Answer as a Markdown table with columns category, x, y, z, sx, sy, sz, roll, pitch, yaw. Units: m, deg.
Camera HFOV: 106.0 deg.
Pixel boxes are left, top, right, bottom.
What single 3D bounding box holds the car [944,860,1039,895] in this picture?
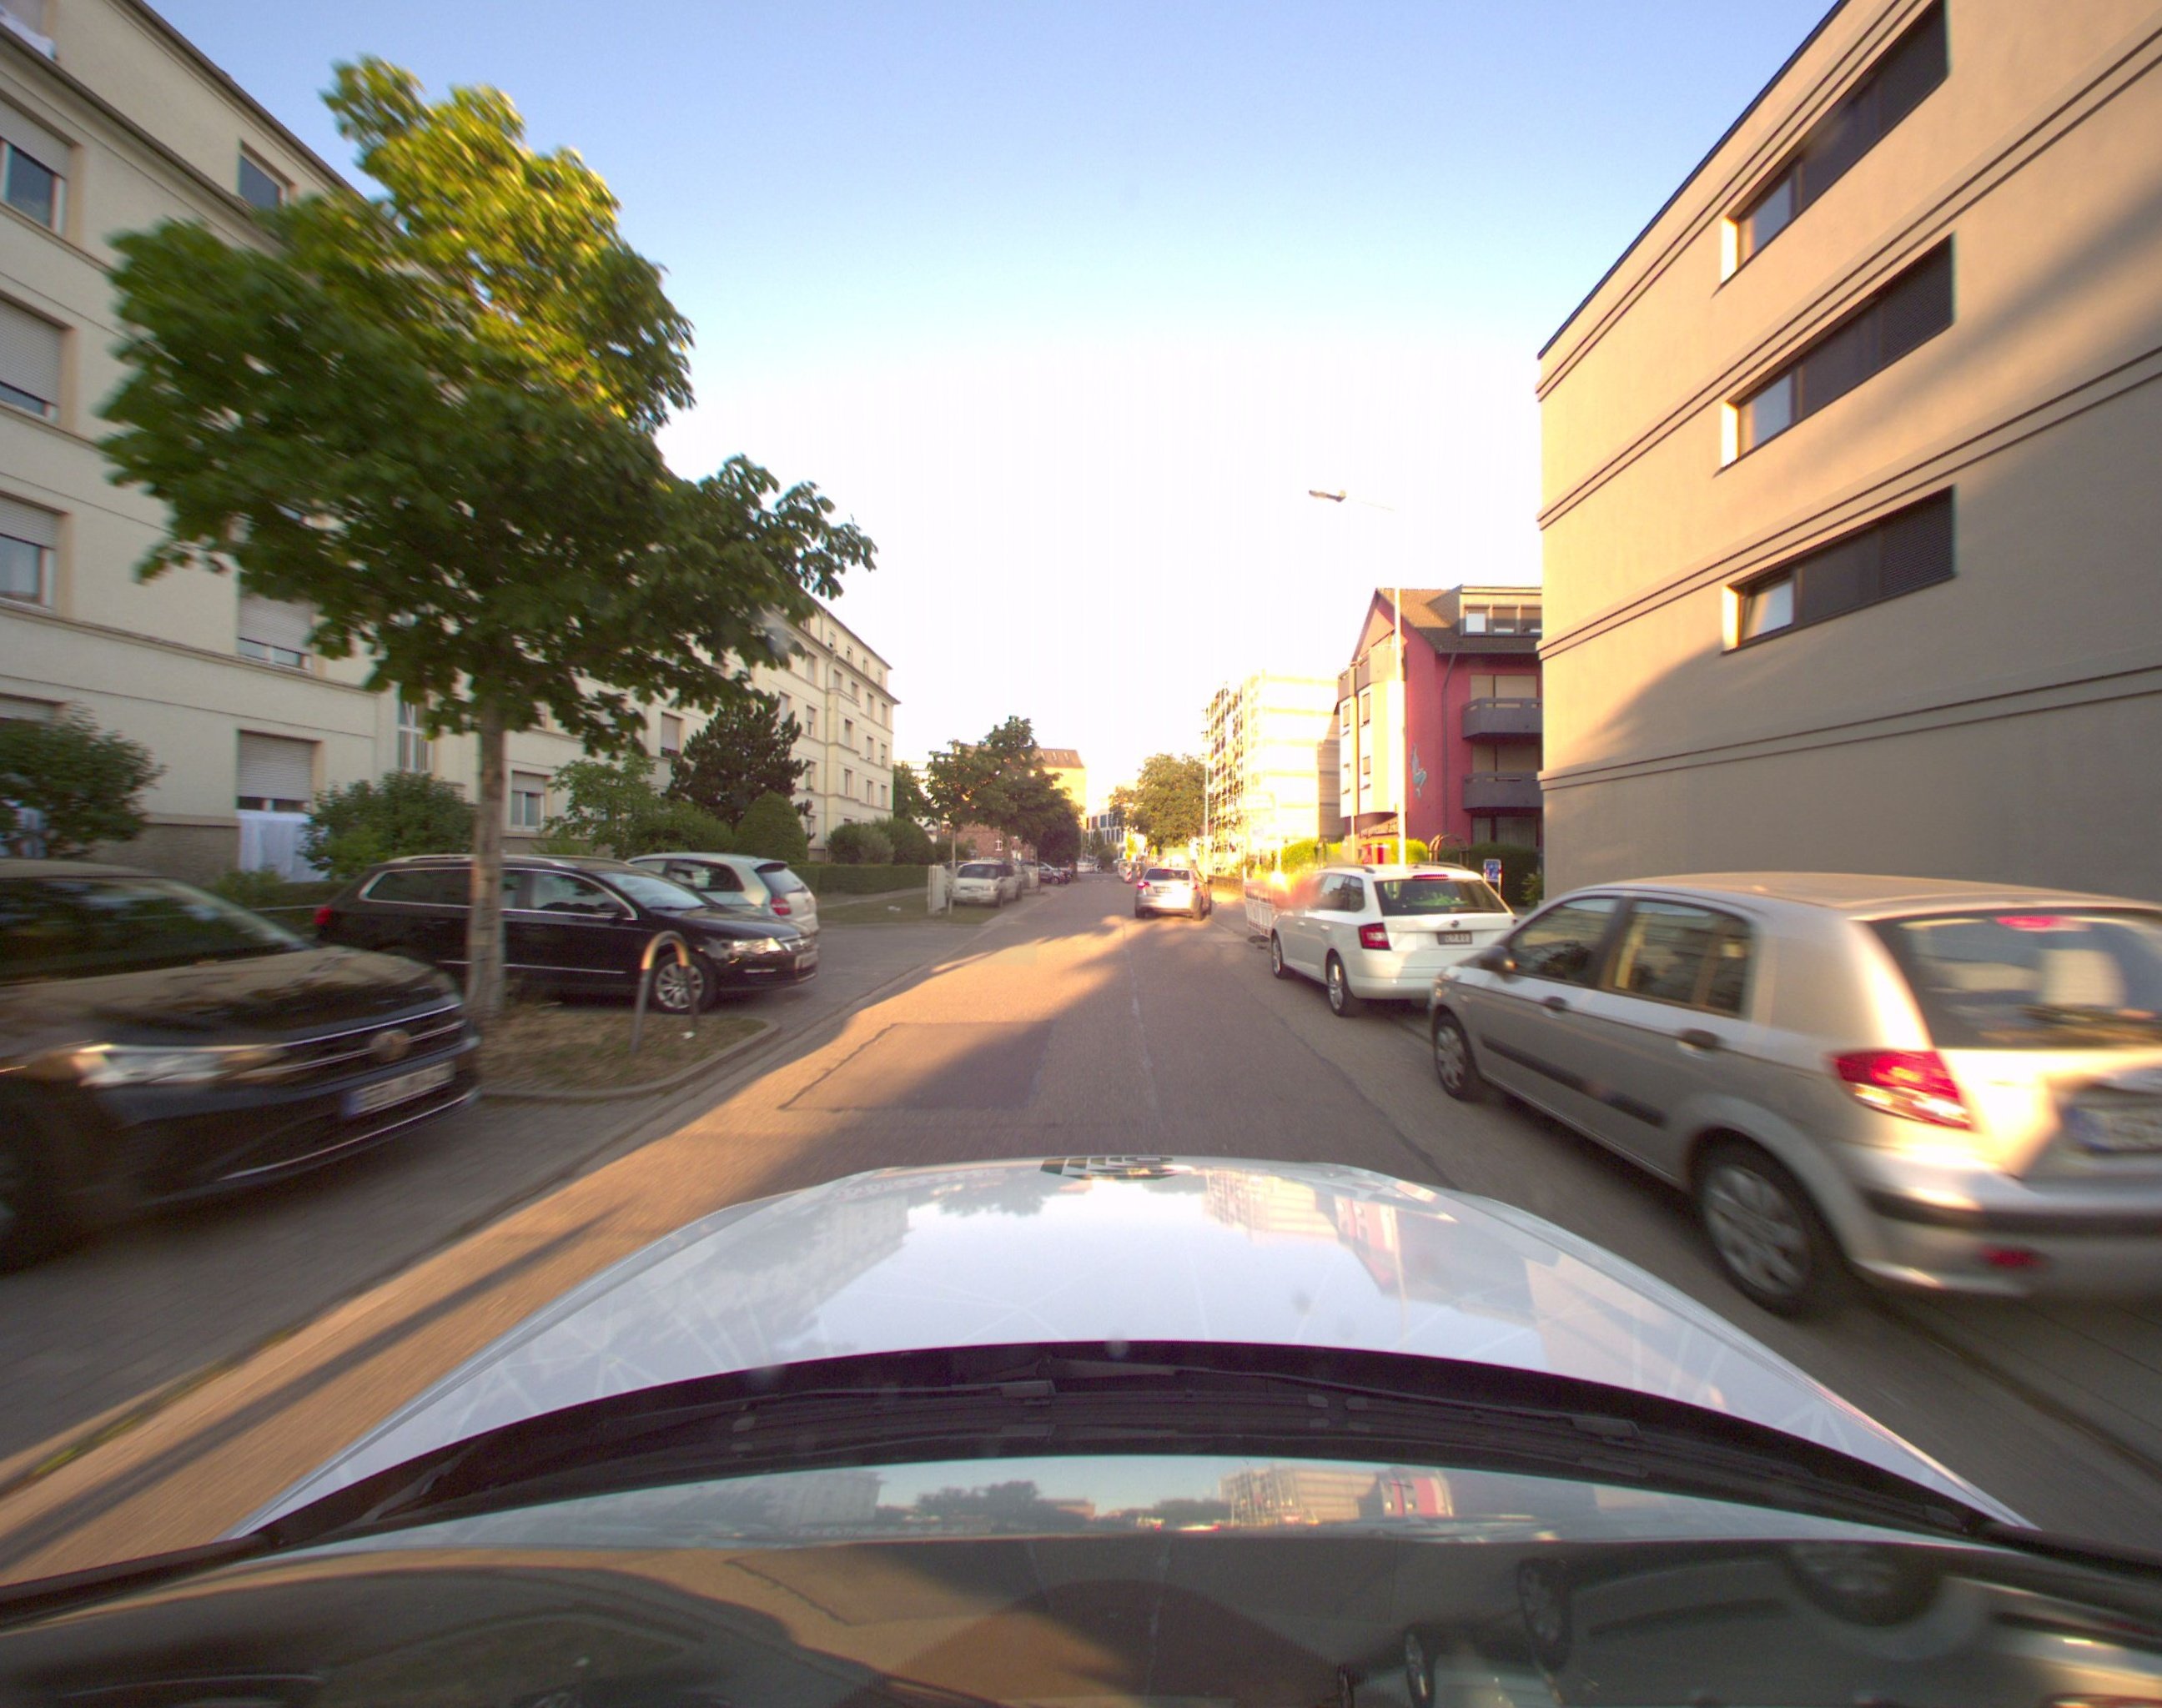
| category | x | y | z | sx | sy | sz | roll | pitch | yaw |
| --- | --- | --- | --- | --- | --- | --- | --- | --- | --- |
| car | -3.985 | 1.062 | 36.784 | 3.960 | 1.489 | 1.729 | 1 | -2 | 3 |

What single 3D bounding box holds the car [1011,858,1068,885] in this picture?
| category | x | y | z | sx | sy | sz | roll | pitch | yaw |
| --- | --- | --- | --- | --- | --- | --- | --- | --- | --- |
| car | -2.764 | 1.172 | 54.613 | 3.610 | 1.557 | 1.693 | 3 | -1 | 1 |

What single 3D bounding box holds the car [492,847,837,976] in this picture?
| category | x | y | z | sx | sy | sz | roll | pitch | yaw |
| --- | --- | --- | --- | --- | --- | --- | --- | --- | --- |
| car | -5.434 | 0.711 | 10.935 | 3.683 | 1.484 | 1.730 | 1 | 0 | 3 |

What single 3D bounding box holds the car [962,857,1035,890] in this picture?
| category | x | y | z | sx | sy | sz | roll | pitch | yaw |
| --- | --- | --- | --- | --- | --- | --- | --- | --- | --- |
| car | -4.104 | 0.977 | 41.017 | 3.465 | 1.566 | 1.727 | 1 | -2 | -2 |

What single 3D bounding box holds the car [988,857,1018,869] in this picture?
| category | x | y | z | sx | sy | sz | roll | pitch | yaw |
| --- | --- | --- | --- | --- | --- | --- | --- | --- | --- |
| car | -10.053 | 1.138 | 105.038 | 3.637 | 1.504 | 1.629 | 0 | 0 | -15 |

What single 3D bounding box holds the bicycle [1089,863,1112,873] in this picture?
| category | x | y | z | sx | sy | sz | roll | pitch | yaw |
| --- | --- | --- | --- | --- | --- | --- | --- | --- | --- |
| bicycle | 2.309 | 1.630 | 96.751 | 2.720 | 1.218 | 0.709 | 0 | -1 | -6 |

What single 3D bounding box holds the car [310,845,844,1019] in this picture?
| category | x | y | z | sx | sy | sz | roll | pitch | yaw |
| --- | --- | --- | --- | --- | --- | --- | --- | --- | --- |
| car | -5.013 | 0.721 | 8.493 | 4.487 | 1.484 | 1.730 | 1 | 0 | 3 |

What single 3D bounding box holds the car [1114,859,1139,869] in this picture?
| category | x | y | z | sx | sy | sz | roll | pitch | yaw |
| --- | --- | --- | --- | --- | --- | --- | --- | --- | --- |
| car | 7.462 | 1.647 | 134.552 | 3.752 | 1.603 | 1.676 | 0 | -1 | -20 |

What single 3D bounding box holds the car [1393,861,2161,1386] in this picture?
| category | x | y | z | sx | sy | sz | roll | pitch | yaw |
| --- | --- | --- | --- | --- | --- | --- | --- | --- | --- |
| car | 3.215 | 0.774 | 4.221 | 1.791 | 1.469 | 3.844 | 0 | 0 | 1 |

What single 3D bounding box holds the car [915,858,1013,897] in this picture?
| category | x | y | z | sx | sy | sz | roll | pitch | yaw |
| --- | --- | --- | --- | --- | --- | --- | --- | --- | --- |
| car | -4.806 | 0.970 | 33.804 | 3.661 | 1.484 | 1.729 | 1 | -2 | 3 |

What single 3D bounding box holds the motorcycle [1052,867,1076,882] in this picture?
| category | x | y | z | sx | sy | sz | roll | pitch | yaw |
| --- | --- | --- | --- | --- | --- | --- | --- | --- | --- |
| motorcycle | -1.207 | 1.501 | 58.096 | 0.532 | 1.021 | 2.225 | 2 | -1 | 31 |

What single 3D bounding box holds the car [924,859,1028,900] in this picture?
| category | x | y | z | sx | sy | sz | roll | pitch | yaw |
| --- | --- | --- | --- | --- | --- | --- | --- | --- | --- |
| car | -3.965 | 0.975 | 31.169 | 3.661 | 1.445 | 1.729 | 1 | -2 | 3 |

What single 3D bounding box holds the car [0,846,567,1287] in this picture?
| category | x | y | z | sx | sy | sz | roll | pitch | yaw |
| --- | --- | --- | --- | --- | --- | --- | --- | --- | --- |
| car | -4.988 | 0.728 | 3.839 | 4.014 | 1.484 | 1.730 | 1 | 0 | 3 |

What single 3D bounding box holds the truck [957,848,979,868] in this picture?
| category | x | y | z | sx | sy | sz | roll | pitch | yaw |
| --- | --- | --- | --- | --- | --- | --- | --- | --- | --- |
| truck | -14.666 | 0.518 | 105.382 | 2.338 | 2.617 | 4.947 | 0 | 0 | -15 |

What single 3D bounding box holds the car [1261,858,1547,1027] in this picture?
| category | x | y | z | sx | sy | sz | roll | pitch | yaw |
| --- | --- | --- | --- | --- | --- | --- | --- | --- | --- |
| car | 3.244 | 0.779 | 9.067 | 1.609 | 1.469 | 3.996 | 0 | 0 | 0 |

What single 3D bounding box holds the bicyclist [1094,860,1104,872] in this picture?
| category | x | y | z | sx | sy | sz | roll | pitch | yaw |
| --- | --- | --- | --- | --- | --- | --- | --- | --- | --- |
| bicyclist | 2.164 | 1.415 | 96.728 | 1.059 | 1.458 | 0.790 | 0 | -1 | -6 |

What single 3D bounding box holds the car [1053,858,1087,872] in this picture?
| category | x | y | z | sx | sy | sz | roll | pitch | yaw |
| --- | --- | --- | --- | --- | --- | --- | --- | --- | --- |
| car | -1.456 | 1.435 | 107.360 | 4.279 | 1.708 | 1.693 | 0 | 0 | -17 |

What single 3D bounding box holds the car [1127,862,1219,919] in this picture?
| category | x | y | z | sx | sy | sz | roll | pitch | yaw |
| --- | --- | --- | --- | --- | --- | --- | --- | --- | --- |
| car | 2.628 | 0.935 | 22.448 | 1.762 | 1.397 | 4.125 | 0 | 0 | 17 |

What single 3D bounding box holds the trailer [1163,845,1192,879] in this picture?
| category | x | y | z | sx | sy | sz | roll | pitch | yaw |
| --- | --- | --- | --- | --- | --- | --- | --- | --- | --- |
| trailer | 7.573 | 0.629 | 64.003 | 1.985 | 2.540 | 4.189 | 0 | 0 | 3 |
